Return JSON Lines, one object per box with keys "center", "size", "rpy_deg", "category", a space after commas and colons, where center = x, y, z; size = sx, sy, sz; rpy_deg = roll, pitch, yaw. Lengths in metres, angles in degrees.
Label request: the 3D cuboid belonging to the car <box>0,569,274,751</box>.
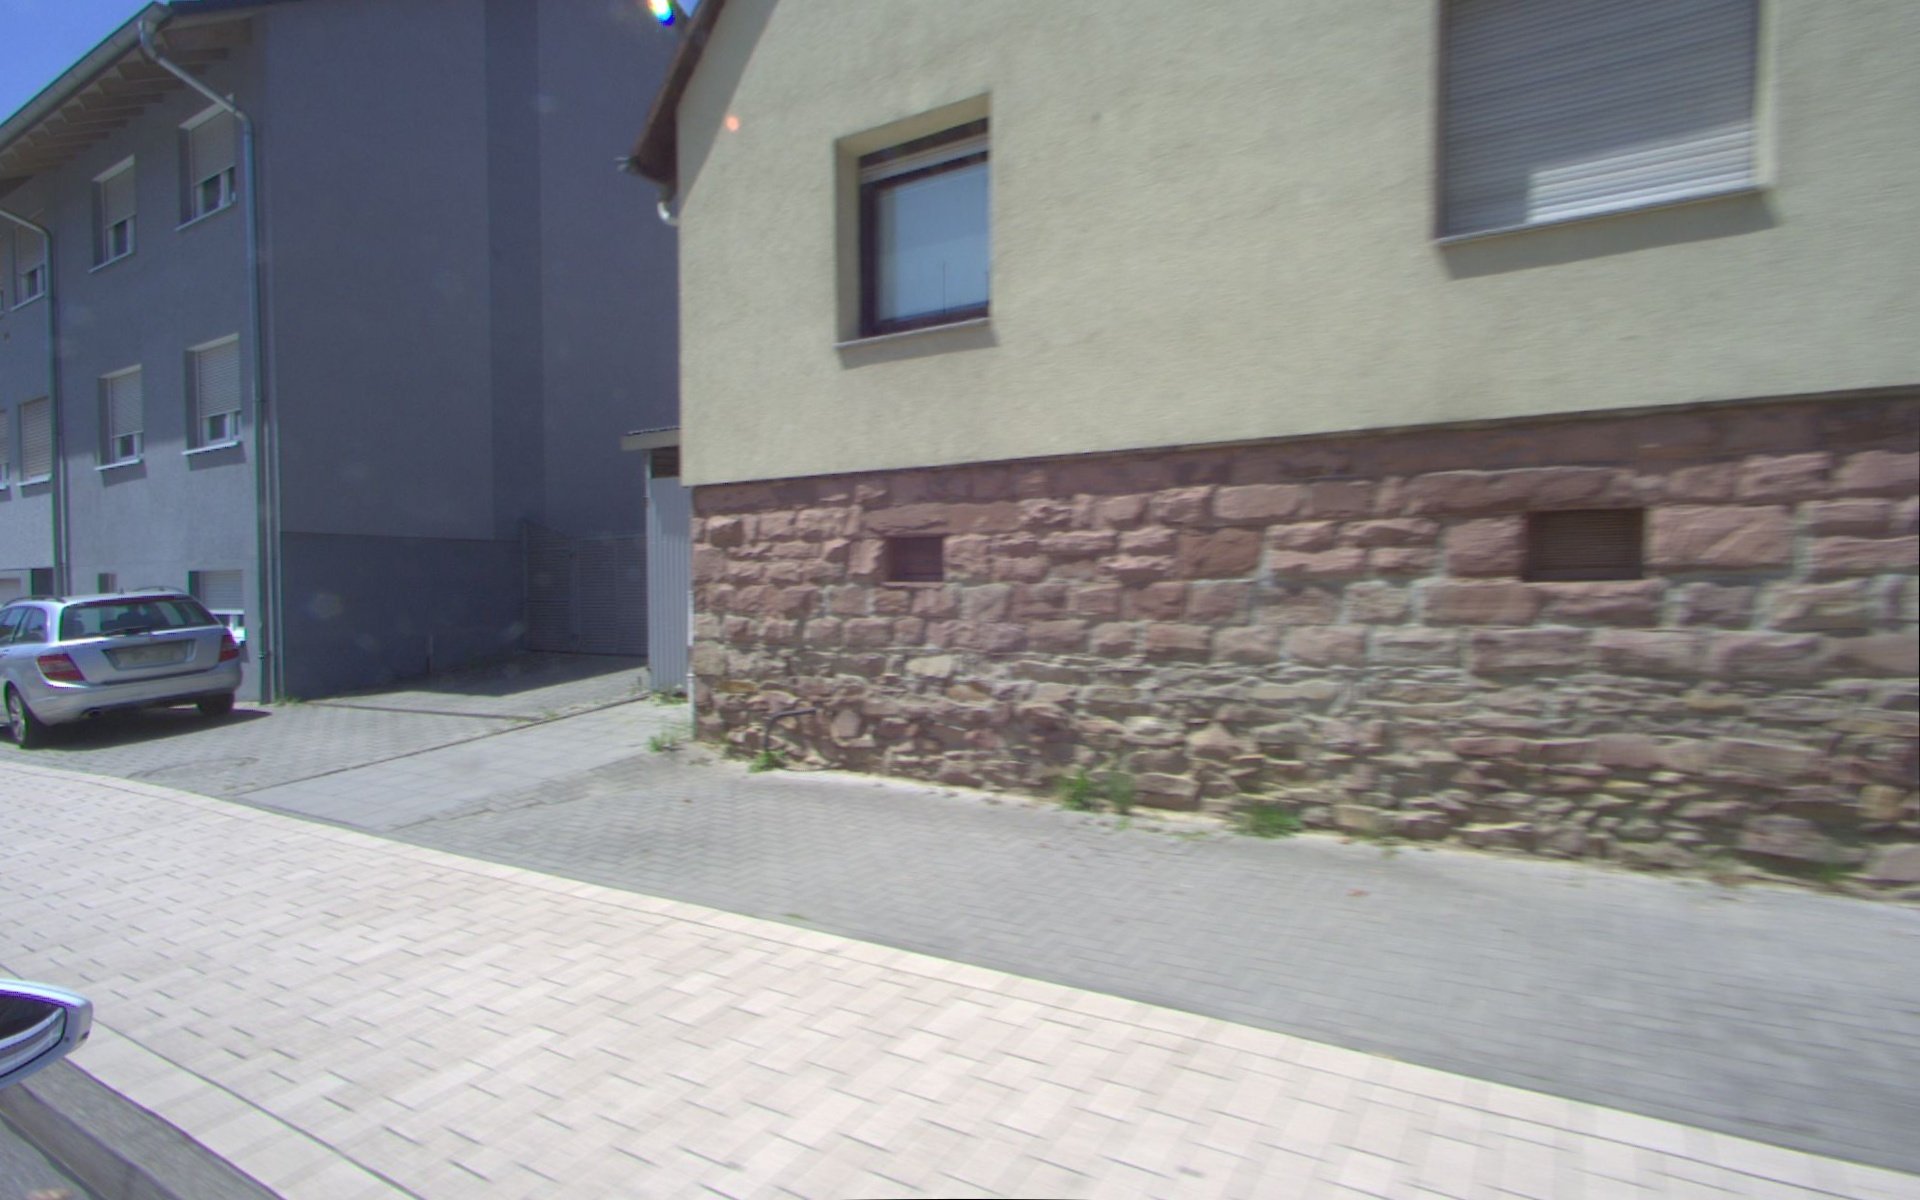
{"center": [-9.588, 0.553, 11.004], "size": [4.458, 1.563, 1.784], "rpy_deg": [-1, 4, 34], "category": "car"}
